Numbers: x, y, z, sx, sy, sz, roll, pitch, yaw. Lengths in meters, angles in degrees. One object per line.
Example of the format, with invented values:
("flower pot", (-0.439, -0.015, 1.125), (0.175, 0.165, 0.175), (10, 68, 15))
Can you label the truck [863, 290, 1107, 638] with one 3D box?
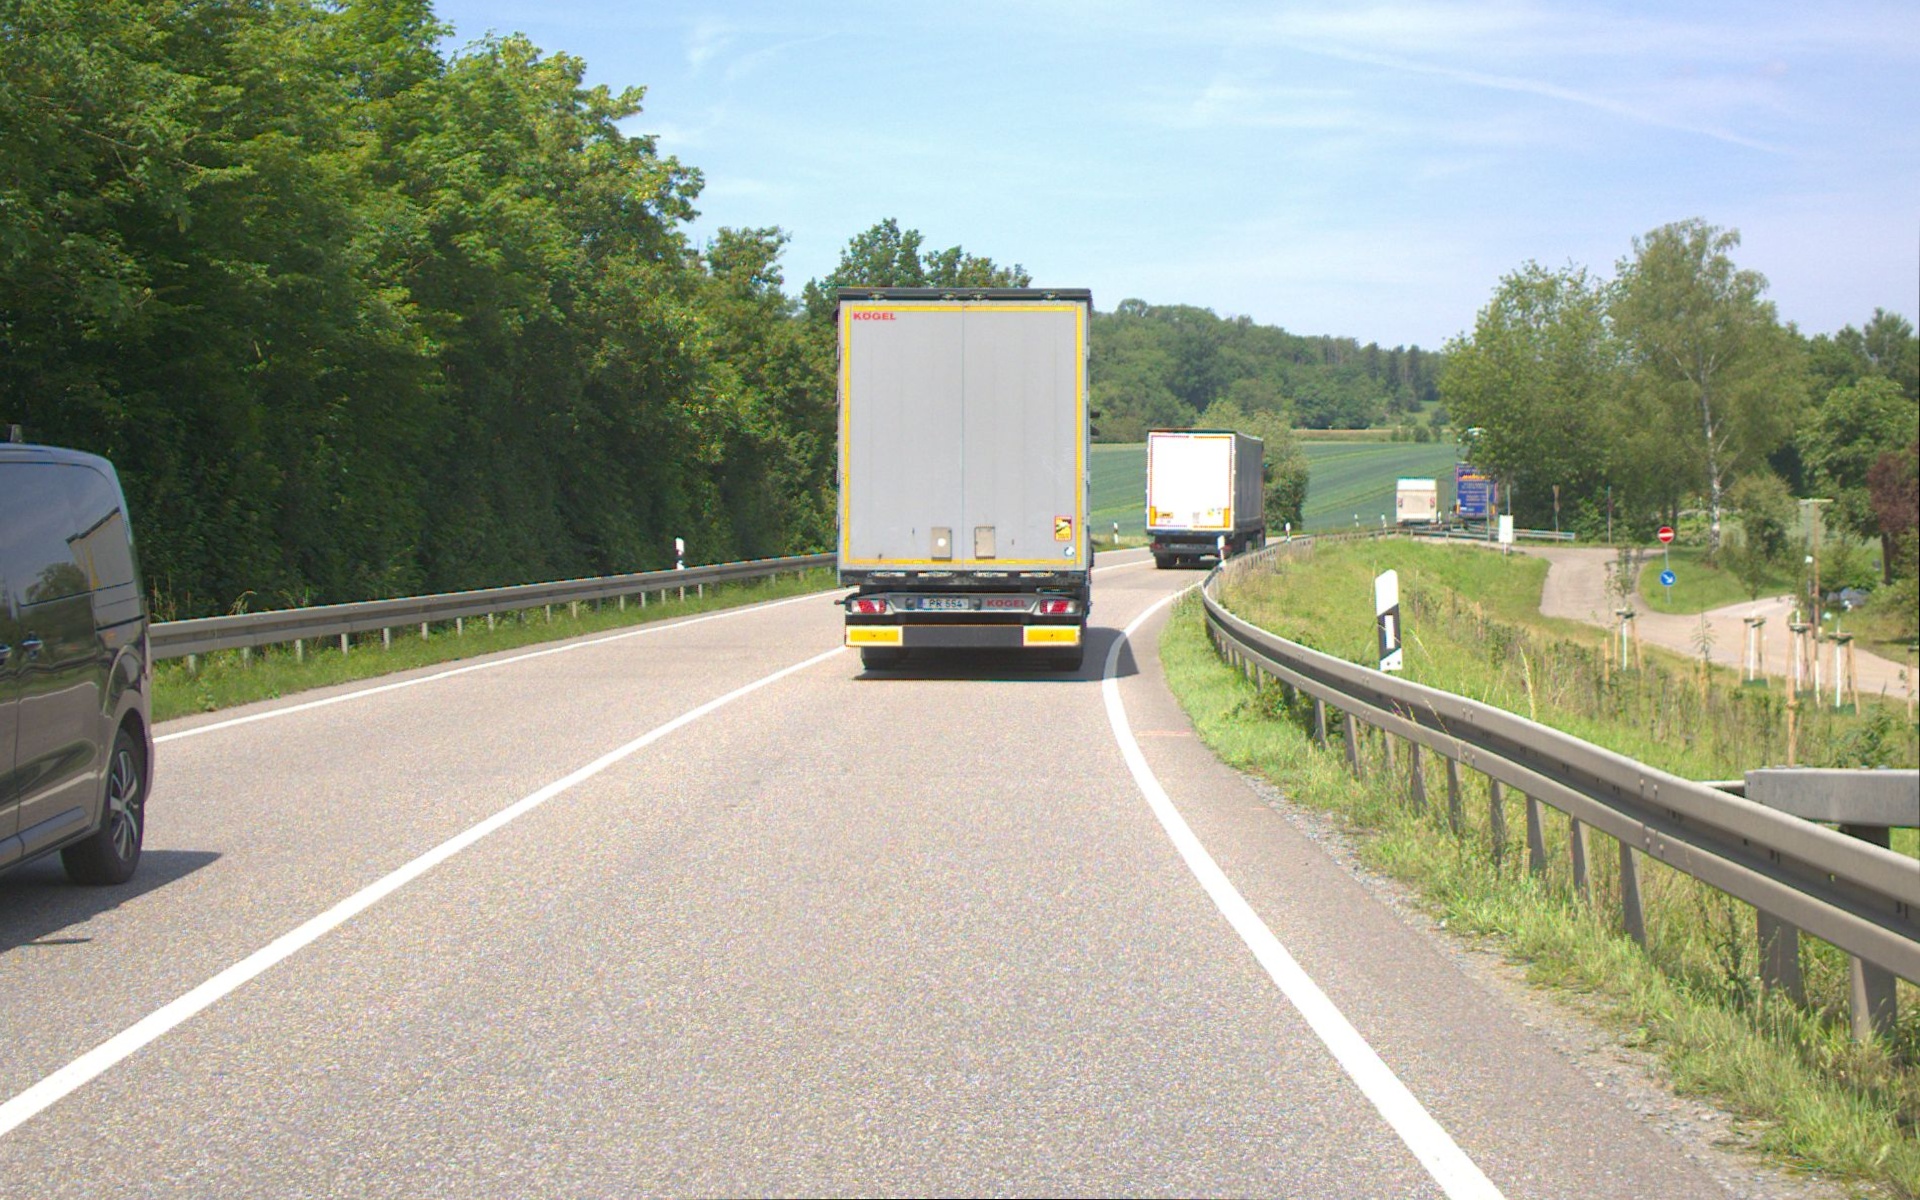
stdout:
("truck", (0.448, -1.854, 47.818), (3.118, 4.479, 6.811), (0, 2, 2))

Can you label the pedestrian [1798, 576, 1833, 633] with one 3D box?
("pedestrian", (28.103, 0.130, 112.959), (0.885, 1.804, 0.959), (-3, 2, 2))

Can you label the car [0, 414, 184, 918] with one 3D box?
("car", (-4.485, 0.228, 13.051), (1.922, 1.853, 5.176), (0, 1, 0))

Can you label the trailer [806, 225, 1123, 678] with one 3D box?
("trailer", (0.227, -1.680, 41.145), (3.118, 4.484, 13.886), (0, 2, 2))

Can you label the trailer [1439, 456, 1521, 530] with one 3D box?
("trailer", (31.523, -6.393, 208.067), (3.650, 4.248, 12.187), (0, 1, 15))

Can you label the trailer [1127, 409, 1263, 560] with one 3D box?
("trailer", (7.295, -3.376, 104.828), (3.366, 4.302, 13.861), (0, 1, 7))

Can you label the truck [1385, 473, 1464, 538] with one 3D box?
("truck", (25.275, -5.087, 186.535), (3.224, 3.354, 11.868), (0, 1, 13))
